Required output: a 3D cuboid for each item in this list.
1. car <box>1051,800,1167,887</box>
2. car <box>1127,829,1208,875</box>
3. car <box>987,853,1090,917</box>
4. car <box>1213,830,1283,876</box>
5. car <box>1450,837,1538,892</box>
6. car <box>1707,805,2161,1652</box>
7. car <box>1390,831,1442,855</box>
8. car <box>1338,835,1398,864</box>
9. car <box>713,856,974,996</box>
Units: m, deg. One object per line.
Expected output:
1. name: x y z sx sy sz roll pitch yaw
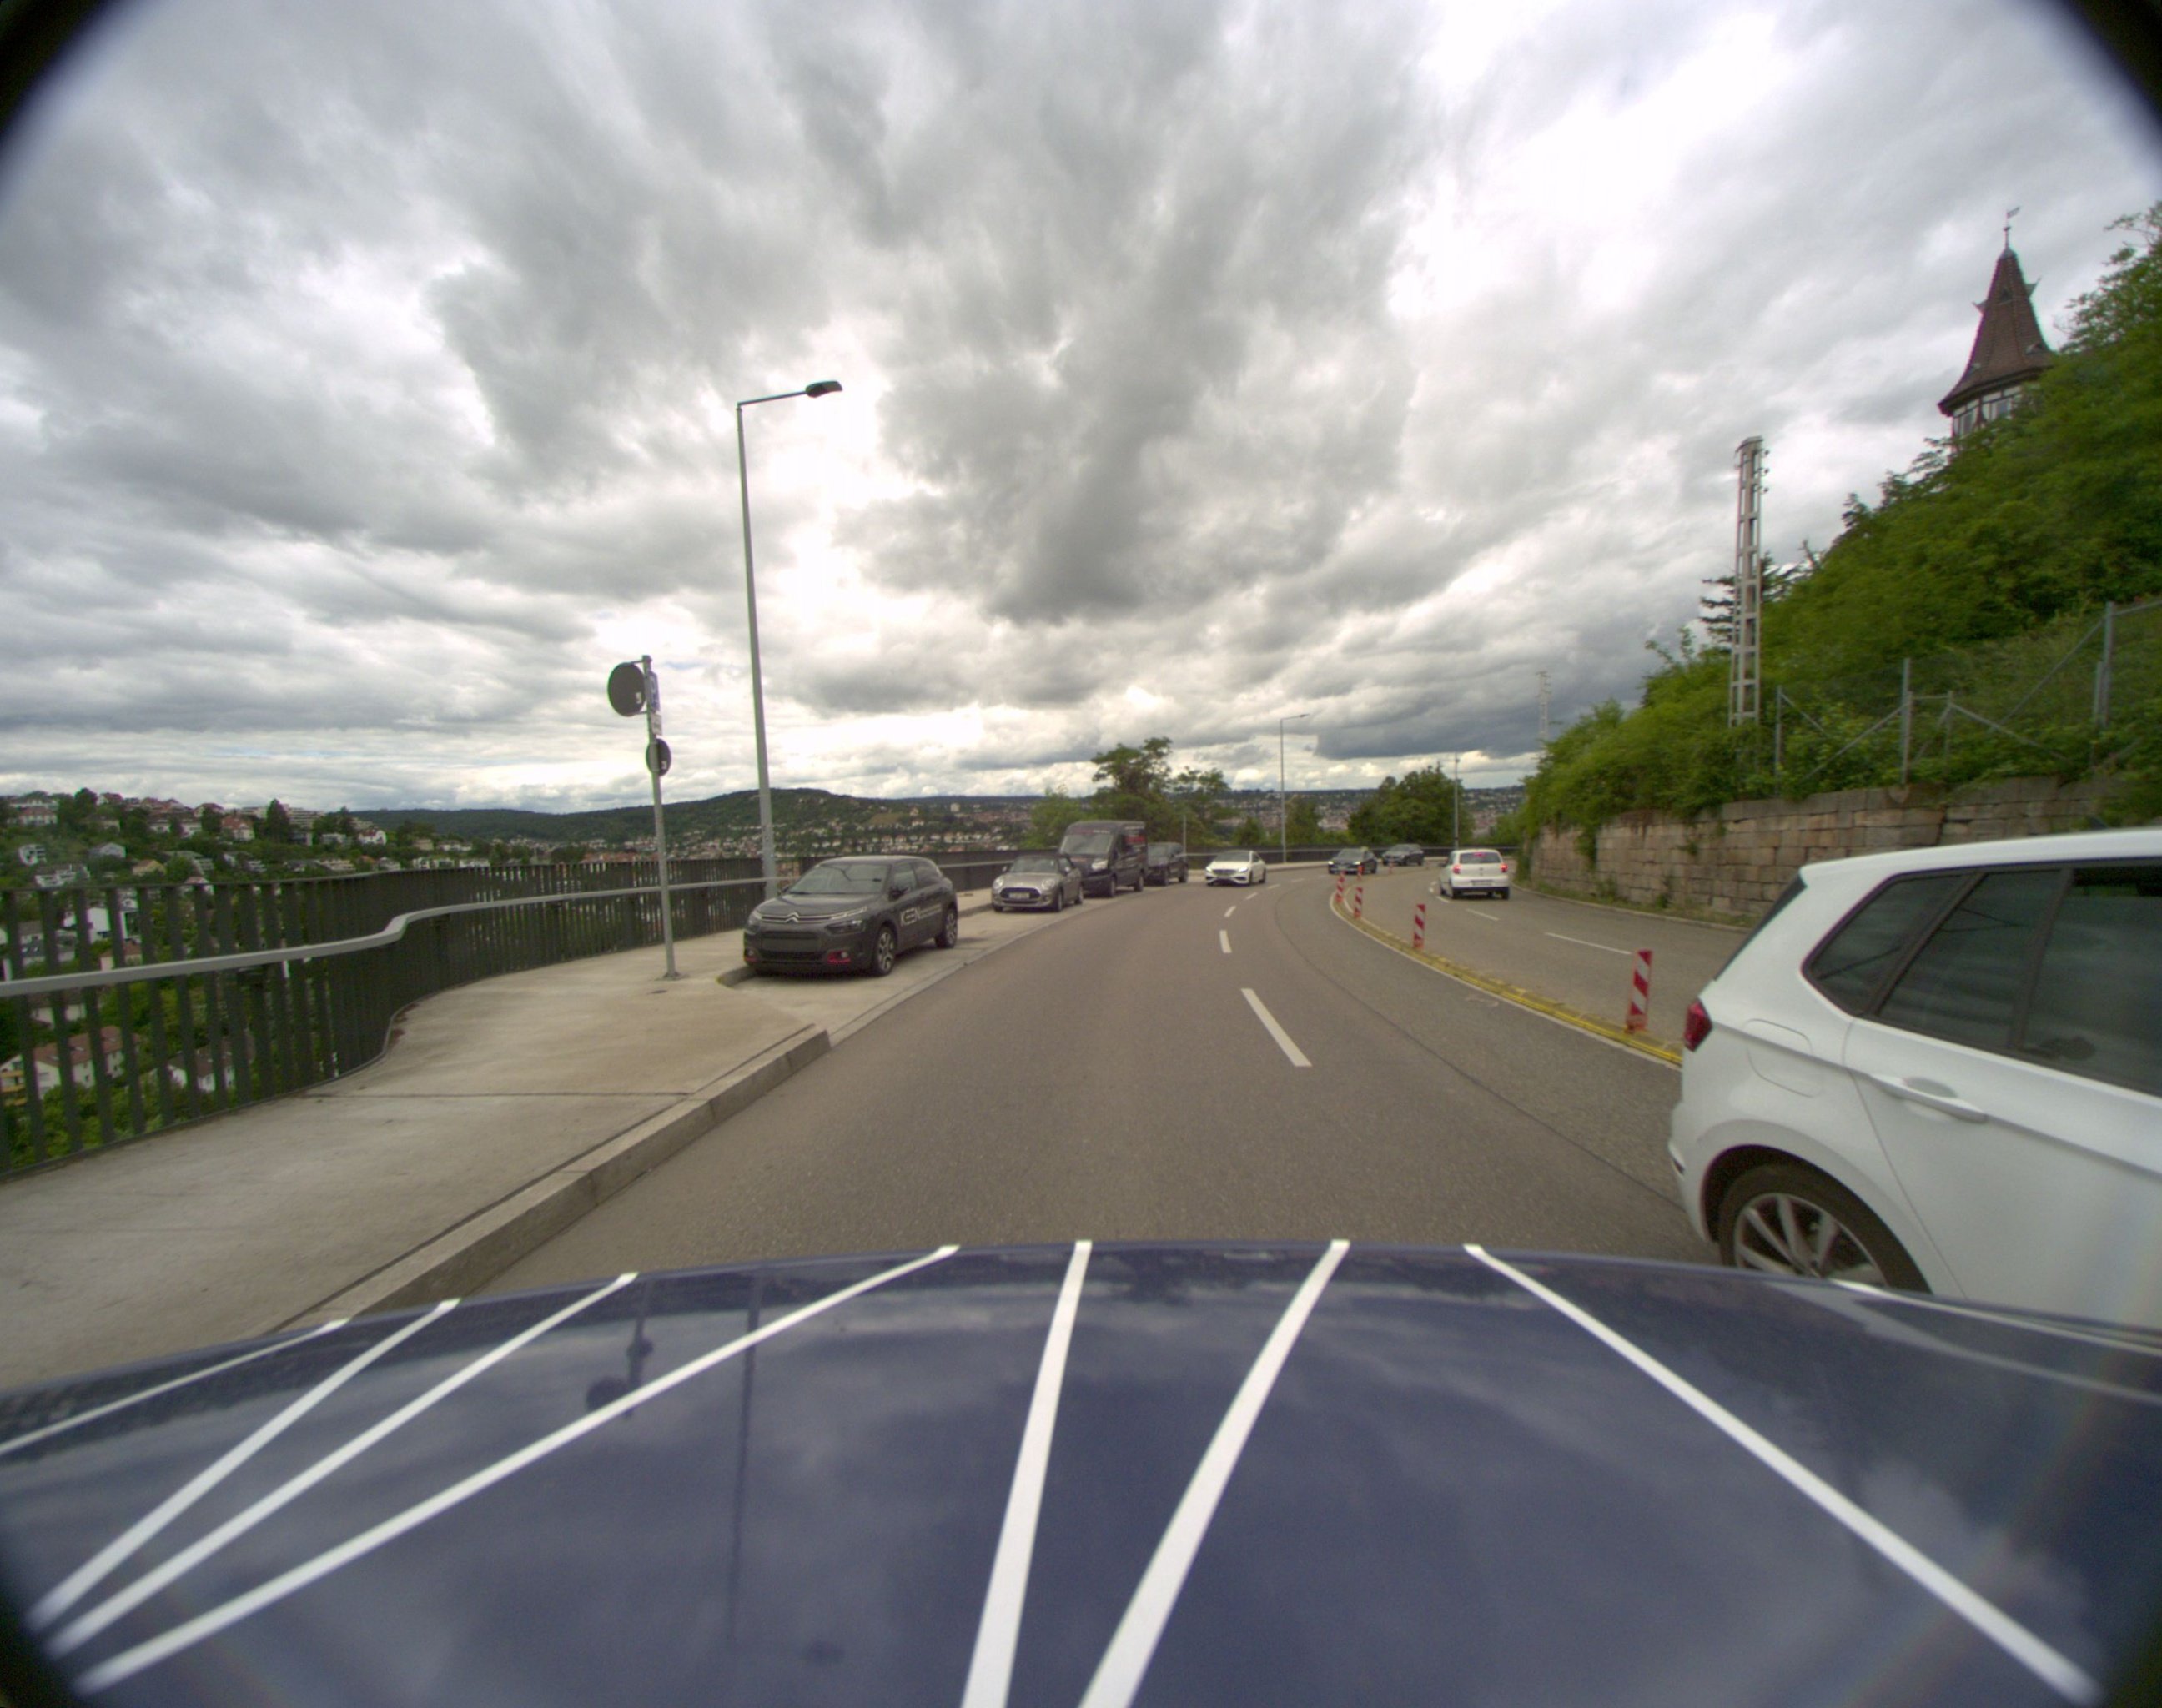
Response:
1. car: 1.126 -0.384 25.454 2.168 2.508 5.778 3 2 19
2. car: 3.712 -0.169 31.653 1.995 1.709 5.056 2 3 22
3. car: -0.999 0.731 19.920 1.717 1.423 3.853 0 1 12
4. car: 6.940 -0.113 31.302 1.995 1.709 4.005 2 3 24
5. car: 13.025 0.269 24.200 1.703 1.540 4.004 1 2 18
6. car: 2.806 0.676 0.238 1.825 1.571 4.357 -3 0 4
7. car: 25.375 -0.865 57.484 4.546 1.662 1.993 -2 5 -45
8. car: 16.321 -0.285 43.106 1.896 1.485 4.149 4 4 39
9. car: -3.110 0.864 10.973 1.878 1.534 4.092 -1 1 10
